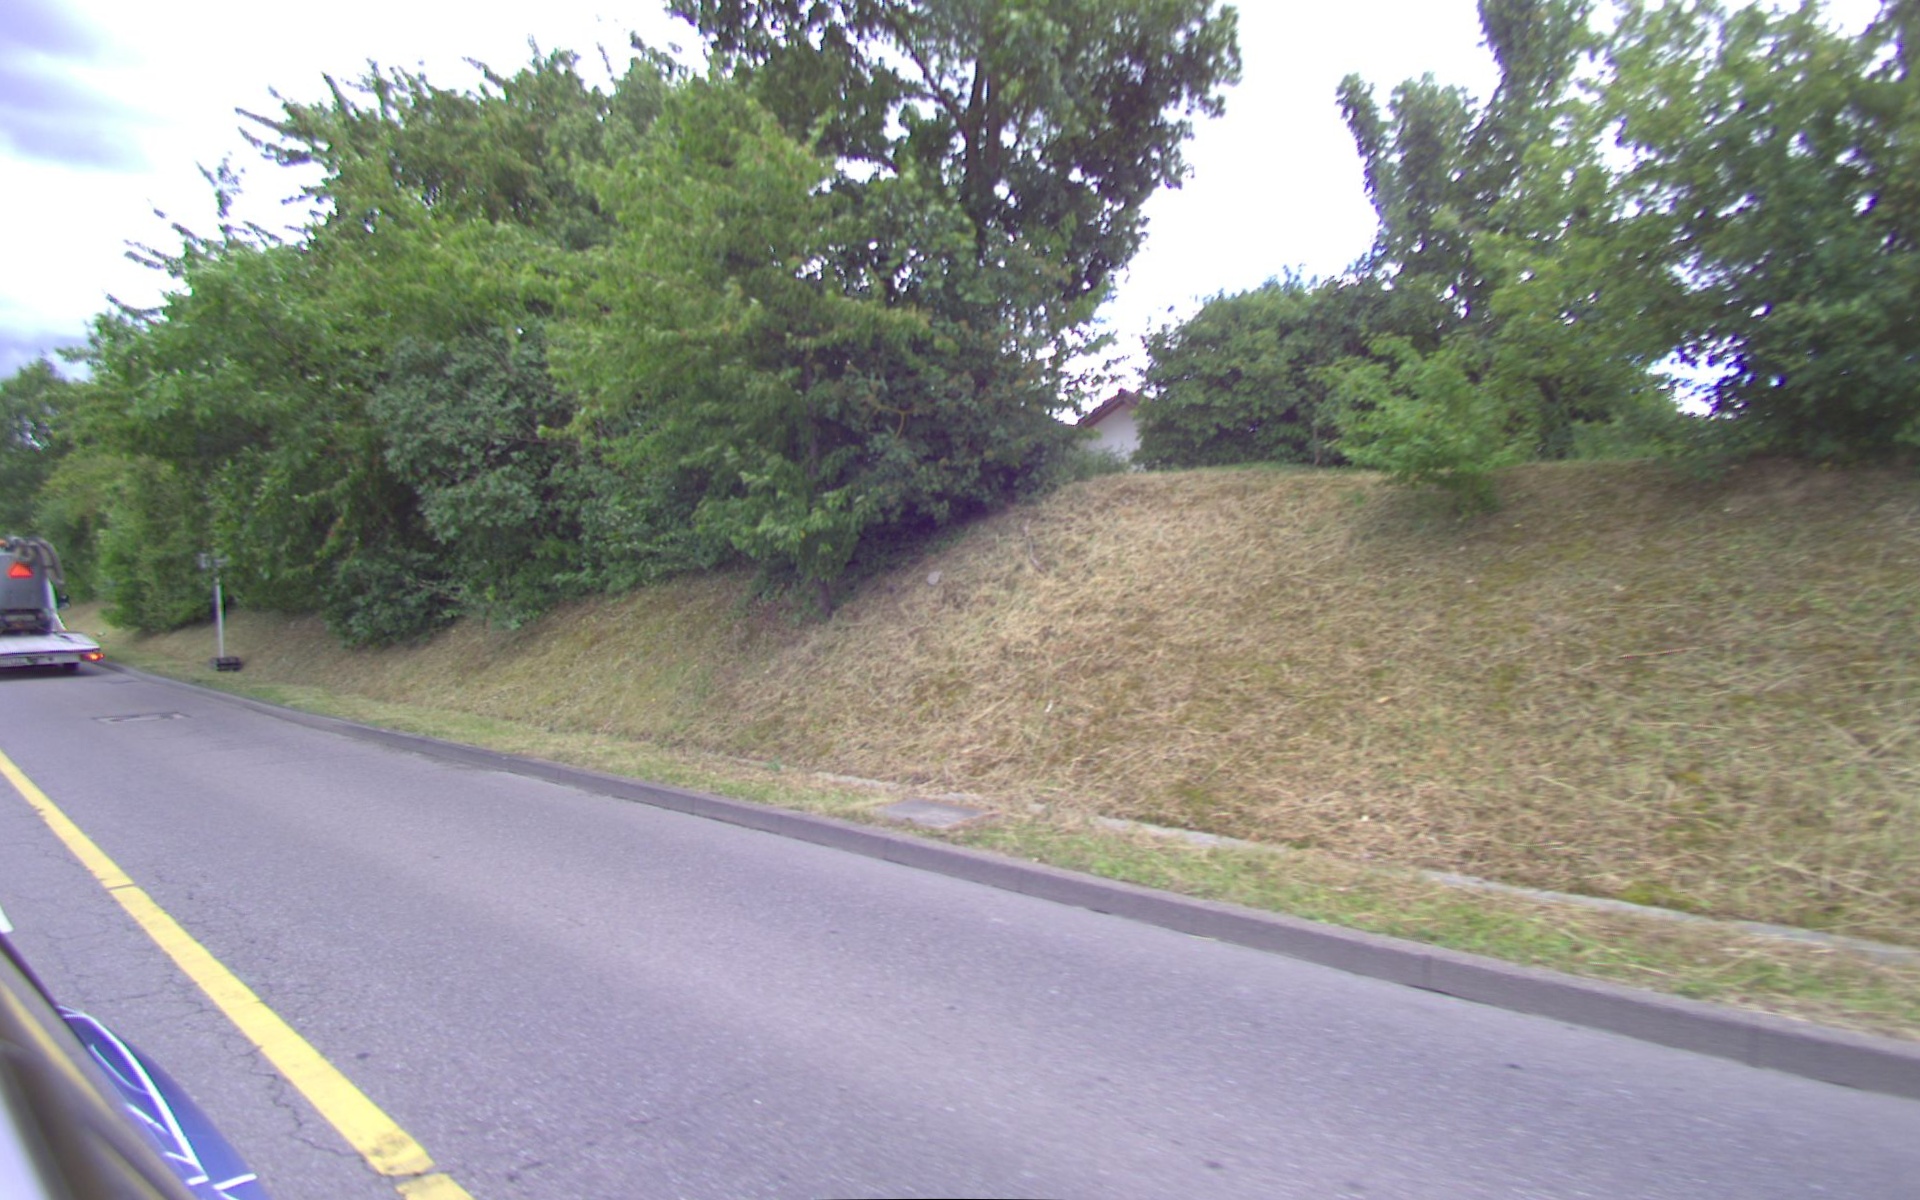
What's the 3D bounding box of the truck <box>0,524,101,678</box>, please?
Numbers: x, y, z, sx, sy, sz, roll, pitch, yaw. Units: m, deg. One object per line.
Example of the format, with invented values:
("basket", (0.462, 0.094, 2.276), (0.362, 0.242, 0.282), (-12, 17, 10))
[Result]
("truck", (-21.558, 0.069, 22.953), (7.737, 3.037, 2.191), (-1, -1, 42))
